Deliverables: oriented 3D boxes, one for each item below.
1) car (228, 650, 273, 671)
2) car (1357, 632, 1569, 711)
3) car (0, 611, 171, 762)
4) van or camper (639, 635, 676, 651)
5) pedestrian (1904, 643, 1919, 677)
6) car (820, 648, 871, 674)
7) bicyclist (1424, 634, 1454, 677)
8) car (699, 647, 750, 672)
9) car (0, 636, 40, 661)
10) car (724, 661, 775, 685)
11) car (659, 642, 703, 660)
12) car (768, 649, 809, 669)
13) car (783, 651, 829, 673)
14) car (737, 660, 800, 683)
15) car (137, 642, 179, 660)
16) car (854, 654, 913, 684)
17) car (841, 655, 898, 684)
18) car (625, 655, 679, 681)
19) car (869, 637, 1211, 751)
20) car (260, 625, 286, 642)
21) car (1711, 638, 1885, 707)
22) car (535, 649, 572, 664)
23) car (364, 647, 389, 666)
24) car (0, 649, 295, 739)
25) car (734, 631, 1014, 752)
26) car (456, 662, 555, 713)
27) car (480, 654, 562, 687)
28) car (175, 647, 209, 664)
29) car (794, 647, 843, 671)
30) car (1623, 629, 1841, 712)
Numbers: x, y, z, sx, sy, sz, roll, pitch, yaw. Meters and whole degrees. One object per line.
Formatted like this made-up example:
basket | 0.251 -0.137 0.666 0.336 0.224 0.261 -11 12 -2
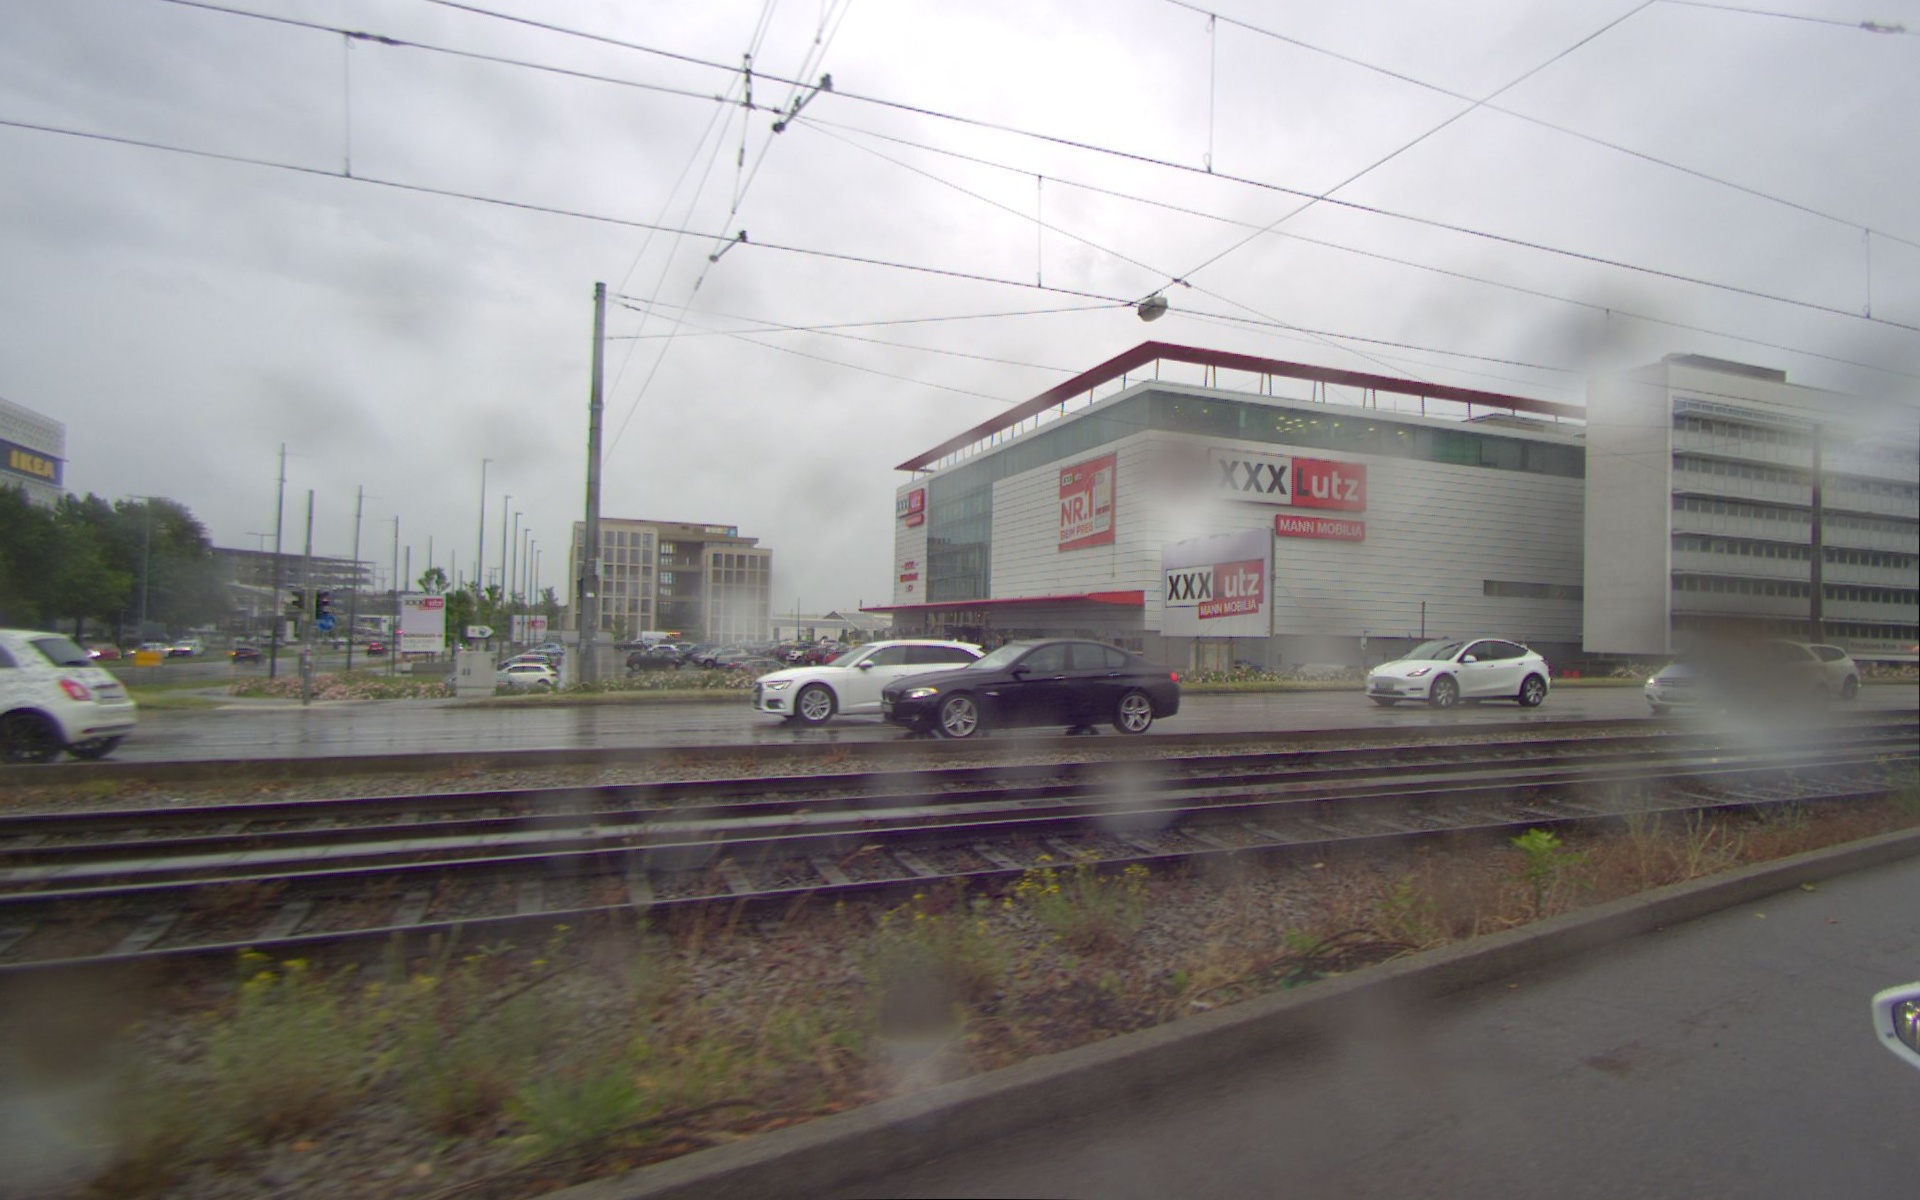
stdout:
car | -60.436 5.143 85.650 2.005 1.425 4.202 2 0 -20
car | 11.979 1.634 23.901 4.775 1.628 1.902 1 2 -24
car | -11.377 0.911 10.972 3.987 1.556 1.709 0 1 -21
van or camper | -43.919 6.289 145.833 4.931 2.141 1.773 2 0 -29
pedestrian | 51.402 3.225 53.803 1.034 1.786 0.821 2 1 -21
car | -9.815 5.213 86.099 3.947 2.040 1.987 2 1 -26
bicyclist | 18.741 2.163 39.300 0.780 1.611 0.670 1 1 -23
car | -19.914 5.024 84.885 3.856 1.930 1.811 2 0 -28
car | -63.765 3.229 67.380 1.578 1.425 3.808 2 0 -20
car | -14.409 4.994 68.687 3.127 1.544 1.562 2 0 -26
car | -27.262 4.991 98.169 3.950 1.582 1.755 2 0 -23
car | -18.213 6.265 106.591 3.947 2.040 1.987 2 1 -26
car | -14.997 6.011 97.724 3.947 2.040 1.987 2 1 -26
car | -12.228 4.569 64.217 3.676 1.281 1.542 2 0 -26
car | -72.456 4.574 90.764 1.684 1.425 4.148 2 0 -20
car | -5.753 5.171 75.293 3.947 2.040 1.987 2 1 -26
car | -7.052 5.366 78.004 3.947 2.040 1.987 2 1 -26
car | -24.613 5.463 80.266 3.785 1.930 1.811 2 0 -28
car | 1.256 1.363 15.673 5.009 1.442 1.919 0 1 -22
car | -93.242 4.509 136.310 1.970 2.040 3.980 2 0 -21
car | 24.402 2.084 29.256 4.625 1.858 1.990 2 -2 -22
car | -43.623 6.049 107.842 3.513 1.425 1.778 2 0 -20
car | -71.455 6.950 123.091 1.970 2.040 3.980 2 0 -21
car | -13.490 1.502 16.614 3.853 1.266 1.580 0 1 -18
car | -1.578 1.625 18.490 4.723 1.927 1.989 2 0 -23
car | -20.313 3.868 44.955 3.947 2.040 1.987 2 1 -26
car | -23.819 3.810 54.521 3.947 1.626 1.794 2 1 -26
car | -75.296 5.417 98.510 1.578 1.425 3.808 2 0 -20
car | -12.691 5.300 90.310 3.947 2.040 1.987 2 1 -26
car | 16.915 1.470 22.017 4.264 1.595 1.870 0 1 -22
